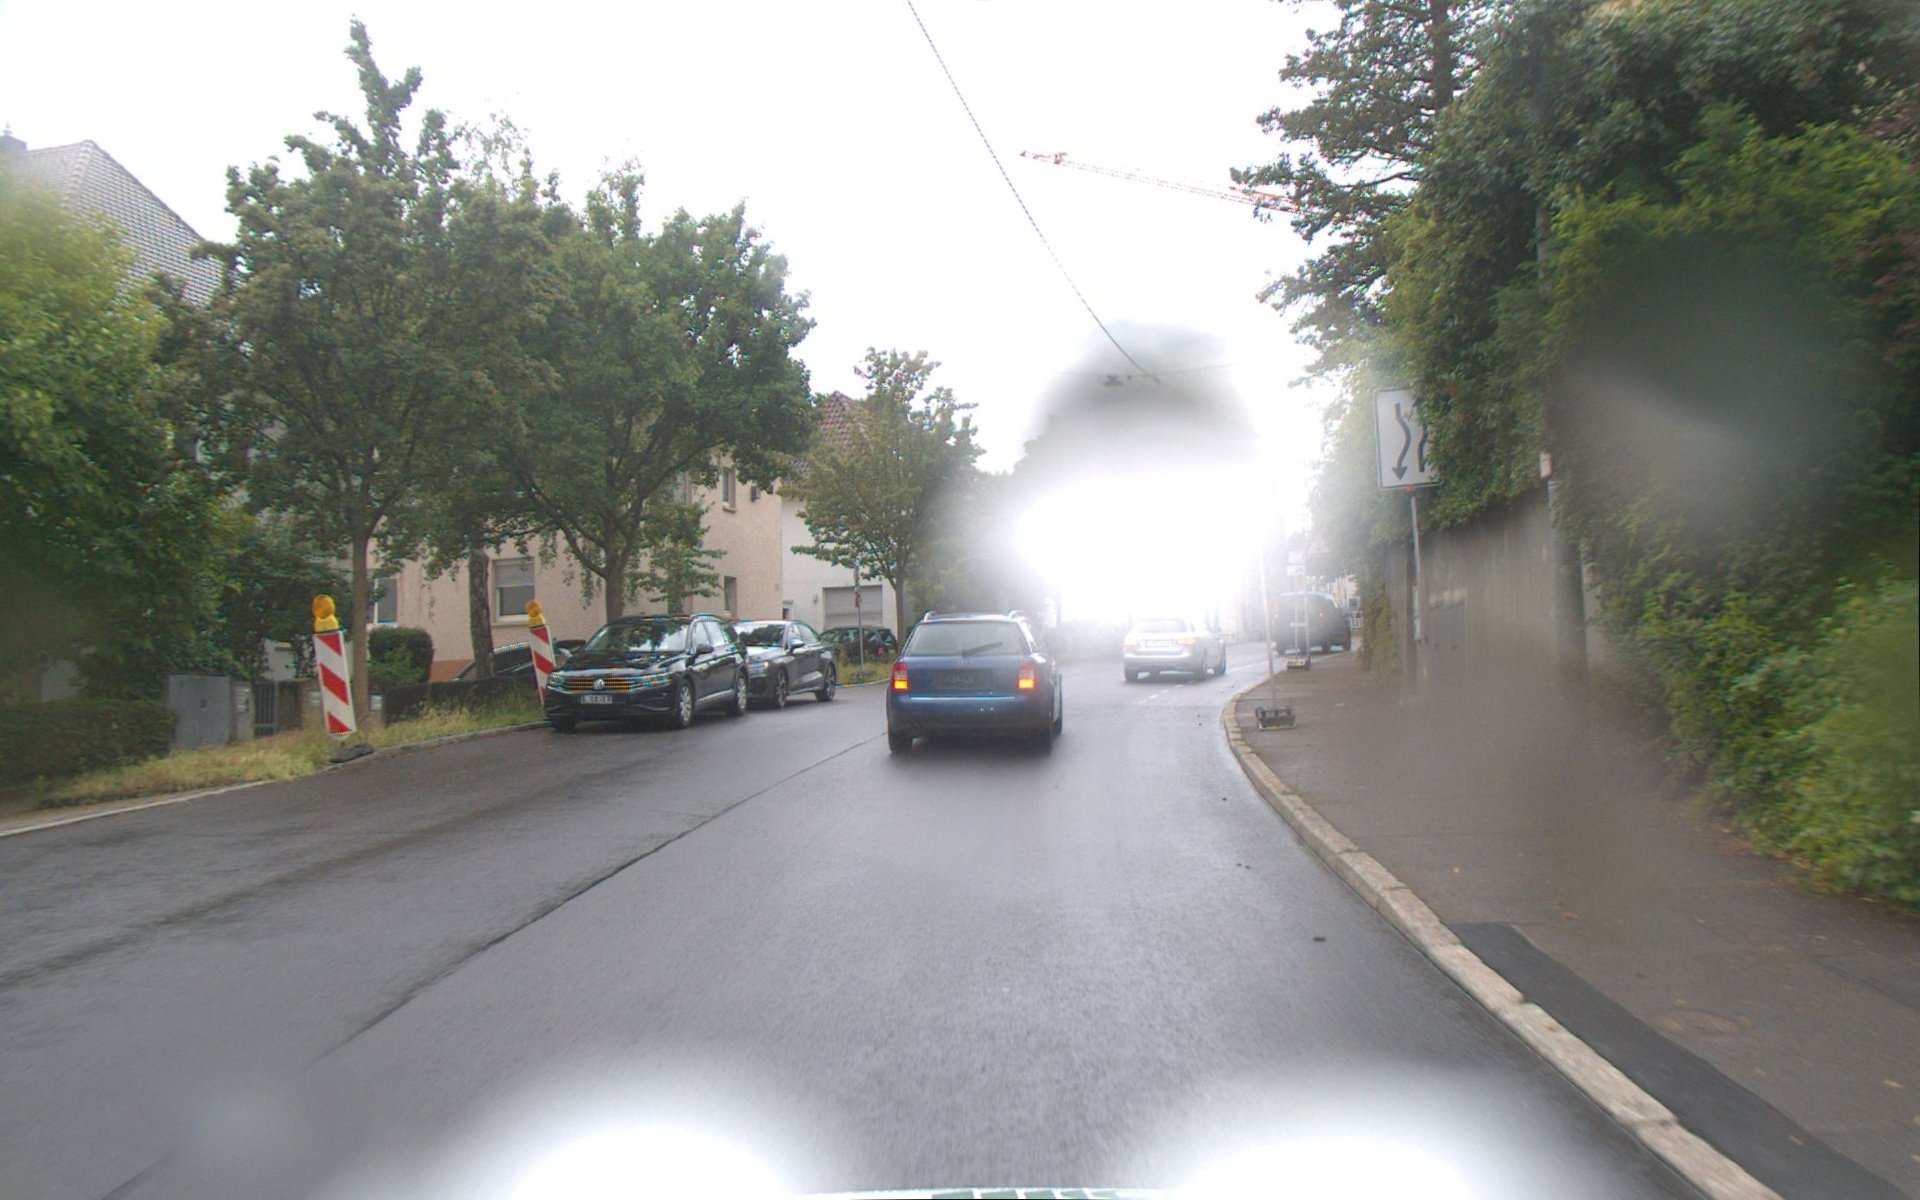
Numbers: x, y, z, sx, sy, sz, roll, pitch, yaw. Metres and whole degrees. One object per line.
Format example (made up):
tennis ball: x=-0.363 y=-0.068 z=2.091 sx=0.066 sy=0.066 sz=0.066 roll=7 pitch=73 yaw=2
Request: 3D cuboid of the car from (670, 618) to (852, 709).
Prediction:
car: x=-3.266 y=1.032 z=28.082 sx=1.670 sy=1.407 sz=4.533 roll=-1 pitch=-1 yaw=12

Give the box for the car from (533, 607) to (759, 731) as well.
car: x=-4.151 y=0.880 z=22.631 sx=1.695 sy=1.510 sz=4.533 roll=-1 pitch=-1 yaw=7

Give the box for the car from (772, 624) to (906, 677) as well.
car: x=-3.852 y=1.578 z=52.825 sx=3.860 sy=1.570 sz=1.863 roll=1 pitch=0 yaw=22

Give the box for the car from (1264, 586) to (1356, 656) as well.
car: x=10.876 y=0.634 z=51.154 sx=1.697 sy=1.927 sz=4.051 roll=-7 pitch=-3 yaw=26

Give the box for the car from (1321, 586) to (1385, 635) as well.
car: x=14.277 y=0.392 z=60.005 sx=1.685 sy=1.689 sz=3.713 roll=1 pitch=-1 yaw=22

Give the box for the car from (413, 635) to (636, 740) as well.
car: x=-9.266 y=1.858 z=35.180 sx=4.156 sy=1.529 sz=1.913 roll=-11 pitch=-4 yaw=22

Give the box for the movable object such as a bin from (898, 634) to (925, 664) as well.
movable object such as a bin: x=-1.579 y=1.604 z=53.918 sx=0.655 sy=0.937 sz=0.592 roll=-1 pitch=-1 yaw=22

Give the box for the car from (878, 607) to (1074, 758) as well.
car: x=0.288 y=0.812 z=18.154 sx=1.739 sy=1.464 sz=4.003 roll=0 pitch=0 yaw=7

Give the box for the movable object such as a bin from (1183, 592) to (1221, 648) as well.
movable object such as a bin: x=11.427 y=0.940 z=78.115 sx=1.286 sy=2.549 sz=1.385 roll=-4 pitch=-2 yaw=25

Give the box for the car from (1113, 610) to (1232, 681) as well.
car: x=4.767 y=0.967 z=36.647 sx=1.868 sy=1.413 sz=4.353 roll=-2 pitch=-1 yaw=17
